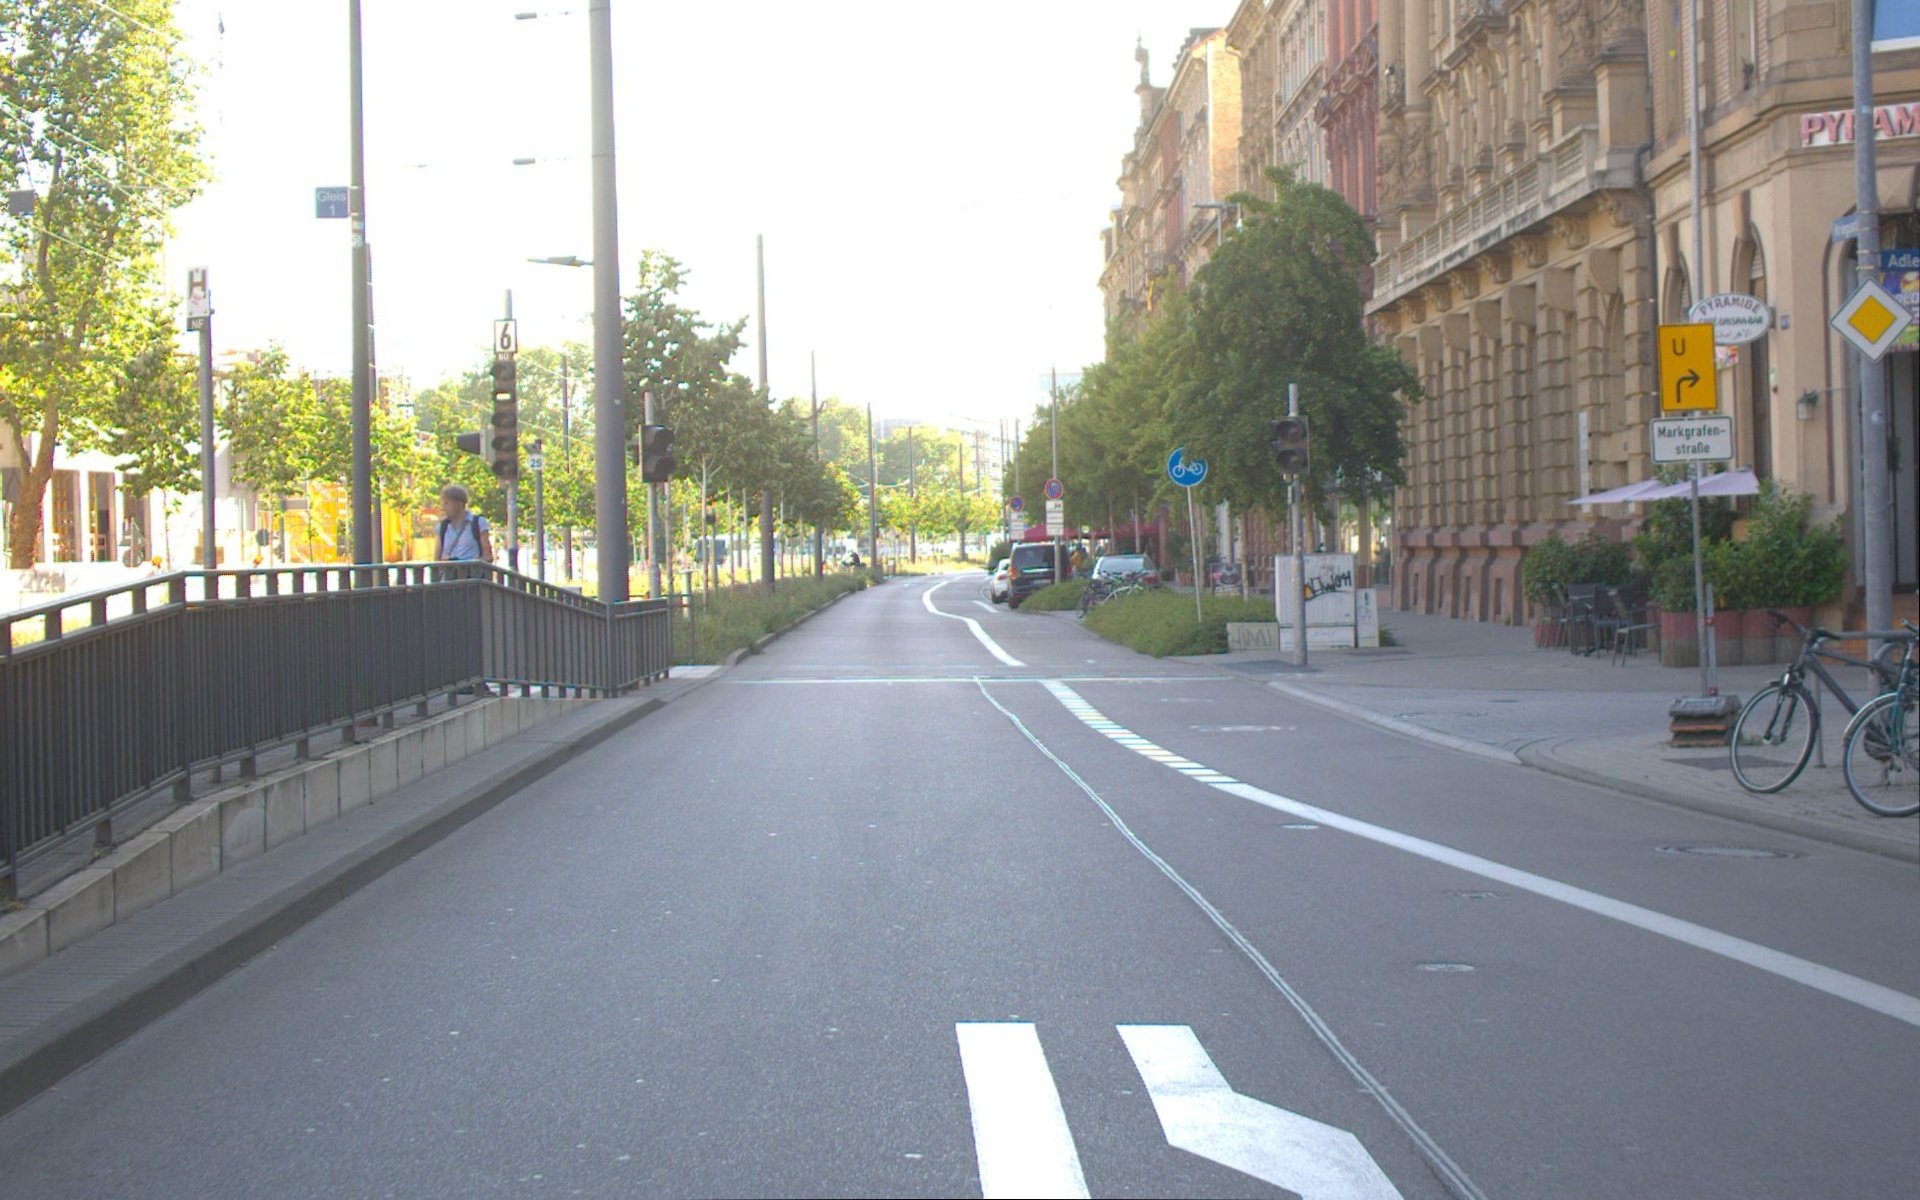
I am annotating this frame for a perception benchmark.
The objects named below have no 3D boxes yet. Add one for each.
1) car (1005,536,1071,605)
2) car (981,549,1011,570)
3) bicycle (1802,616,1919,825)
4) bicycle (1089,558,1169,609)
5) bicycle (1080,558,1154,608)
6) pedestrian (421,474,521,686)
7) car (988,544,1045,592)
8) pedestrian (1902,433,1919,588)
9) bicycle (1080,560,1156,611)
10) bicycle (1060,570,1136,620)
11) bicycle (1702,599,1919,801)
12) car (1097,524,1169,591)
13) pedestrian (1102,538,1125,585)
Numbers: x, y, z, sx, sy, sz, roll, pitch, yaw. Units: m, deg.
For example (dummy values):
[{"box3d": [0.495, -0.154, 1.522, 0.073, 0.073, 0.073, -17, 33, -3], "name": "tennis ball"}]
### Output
[{"box3d": [2.320, -0.904, 102.941, 1.885, 1.930, 4.473, -2, 2, 1], "name": "car"}, {"box3d": [2.685, -3.000, 255.658, 1.798, 1.459, 3.999, -2, 1, 6], "name": "car"}, {"box3d": [5.700, 0.610, 19.054, 1.825, 1.061, 0.664, -4, 2, -5], "name": "bicycle"}, {"box3d": [3.820, -0.377, 77.895, 1.691, 1.044, 0.489, -3, 1, -8], "name": "bicycle"}, {"box3d": [3.577, -0.387, 78.430, 1.576, 1.044, 0.489, -3, 1, -8], "name": "bicycle"}, {"box3d": [-3.842, -0.154, 27.045, 0.655, 1.637, 0.867, -1, 0, -1], "name": "pedestrian"}, {"box3d": [1.891, -1.095, 116.254, 1.849, 1.452, 4.156, -2, 2, 1], "name": "car"}, {"box3d": [10.953, -1.014, 38.855, 0.447, 1.734, 0.542, -1, 1, 27], "name": "pedestrian"}, {"box3d": [3.520, -0.326, 76.603, 1.576, 1.044, 0.489, -3, 1, -8], "name": "bicycle"}, {"box3d": [3.240, -0.121, 80.952, 1.691, 1.044, 0.489, -5, 1, 0], "name": "bicycle"}, {"box3d": [5.456, 0.570, 20.526, 1.825, 1.061, 0.664, -4, 2, -5], "name": "bicycle"}, {"box3d": [4.333, -1.092, 86.335, 1.637, 1.481, 4.212, -3, 2, 2], "name": "car"}, {"box3d": [4.771, -1.191, 106.740, 0.625, 1.455, 0.638, -1, 1, -1], "name": "pedestrian"}]
